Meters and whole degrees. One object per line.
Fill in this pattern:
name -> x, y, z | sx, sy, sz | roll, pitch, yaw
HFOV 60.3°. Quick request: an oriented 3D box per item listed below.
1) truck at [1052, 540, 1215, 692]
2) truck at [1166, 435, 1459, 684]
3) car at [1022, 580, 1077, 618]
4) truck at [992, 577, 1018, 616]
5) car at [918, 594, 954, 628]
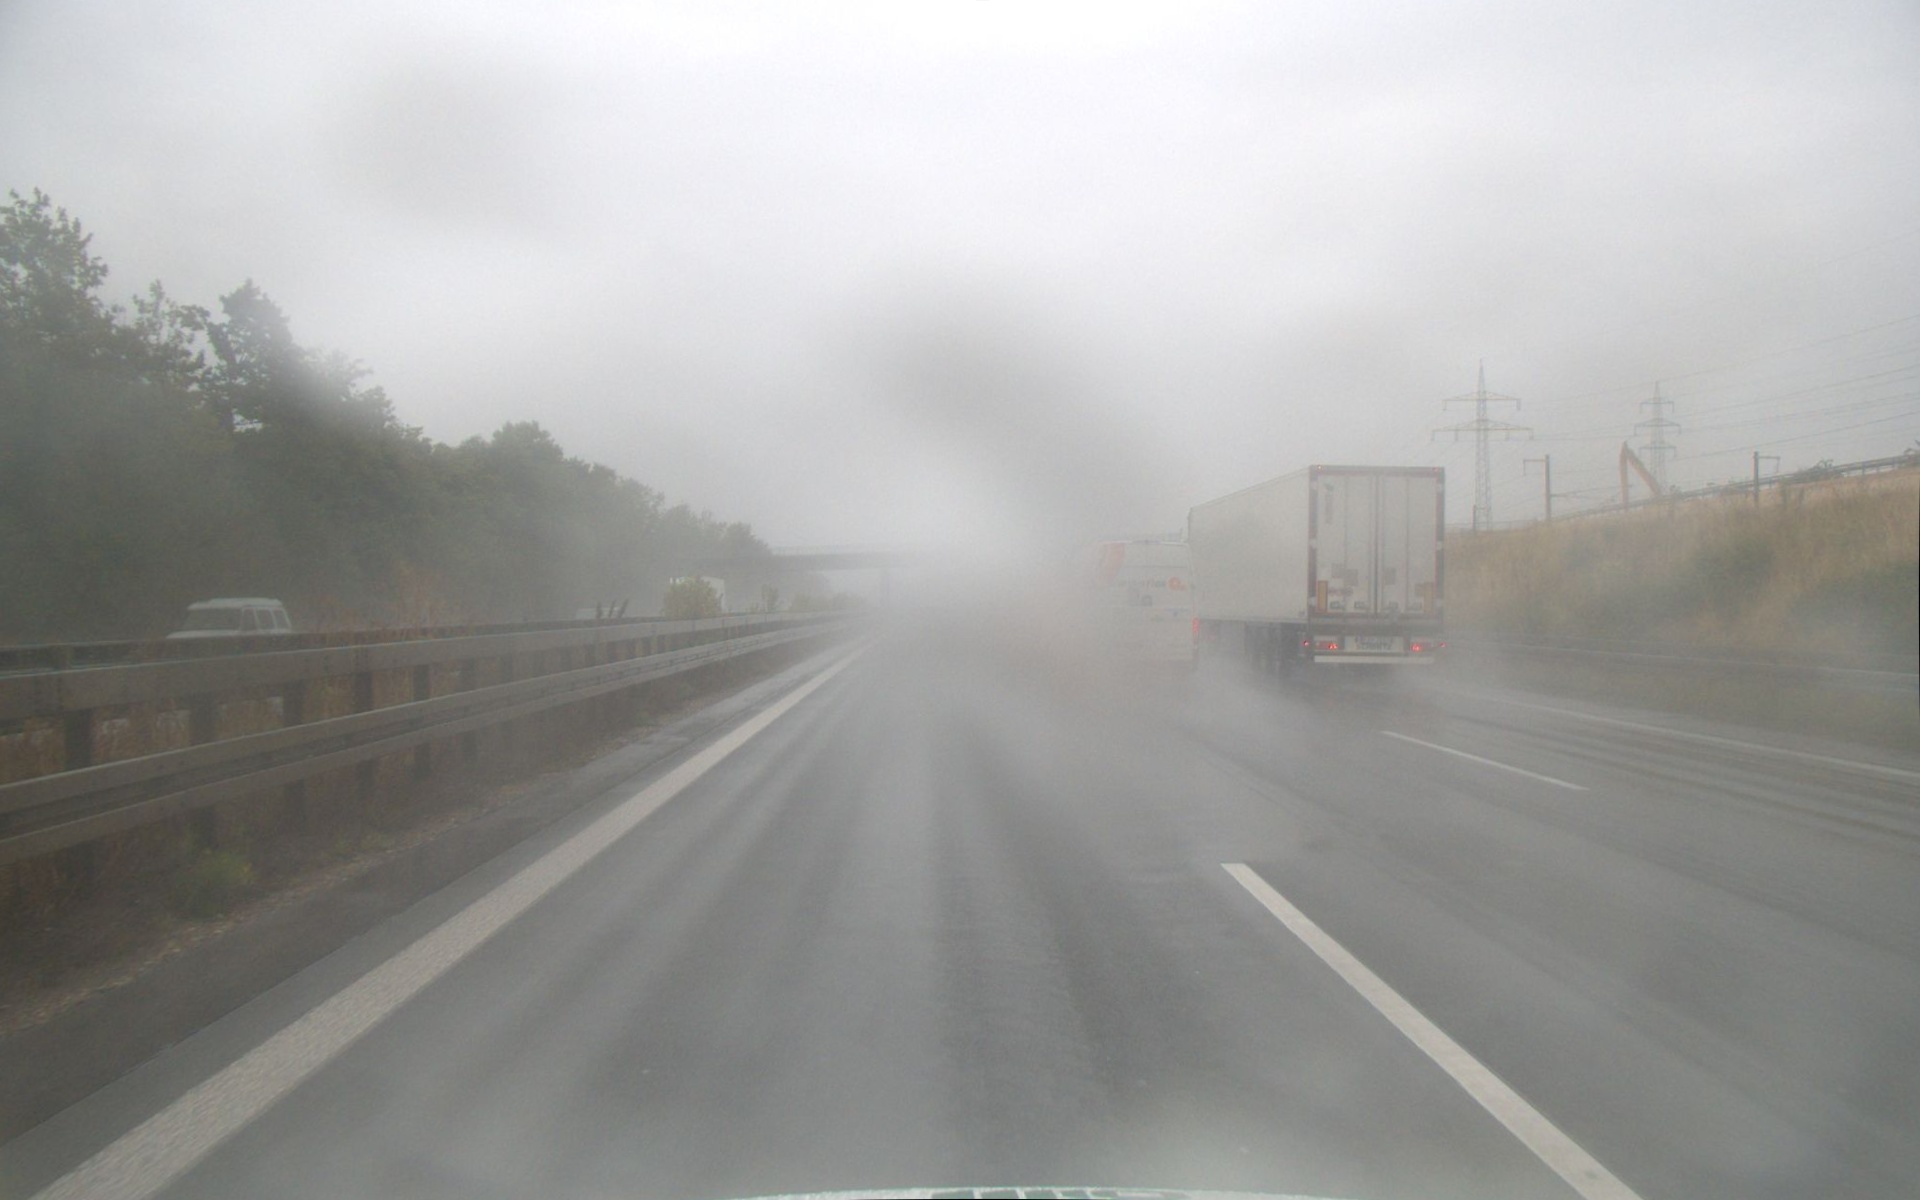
truck -> 3.070, 0.216, 30.628 | 2.370, 2.536, 5.560 | 1, 1, 0
truck -> 7.697, -0.788, 39.504 | 2.978, 4.668, 16.345 | 1, 0, -2
car -> 5.128, -0.105, 95.498 | 2.731, 2.048, 4.992 | 1, 1, -1
truck -> 4.289, -0.317, 157.264 | 2.067, 3.577, 5.245 | 1, 1, -2
car -> -1.076, 0.472, 74.022 | 1.573, 1.361, 3.848 | 1, 1, -1
